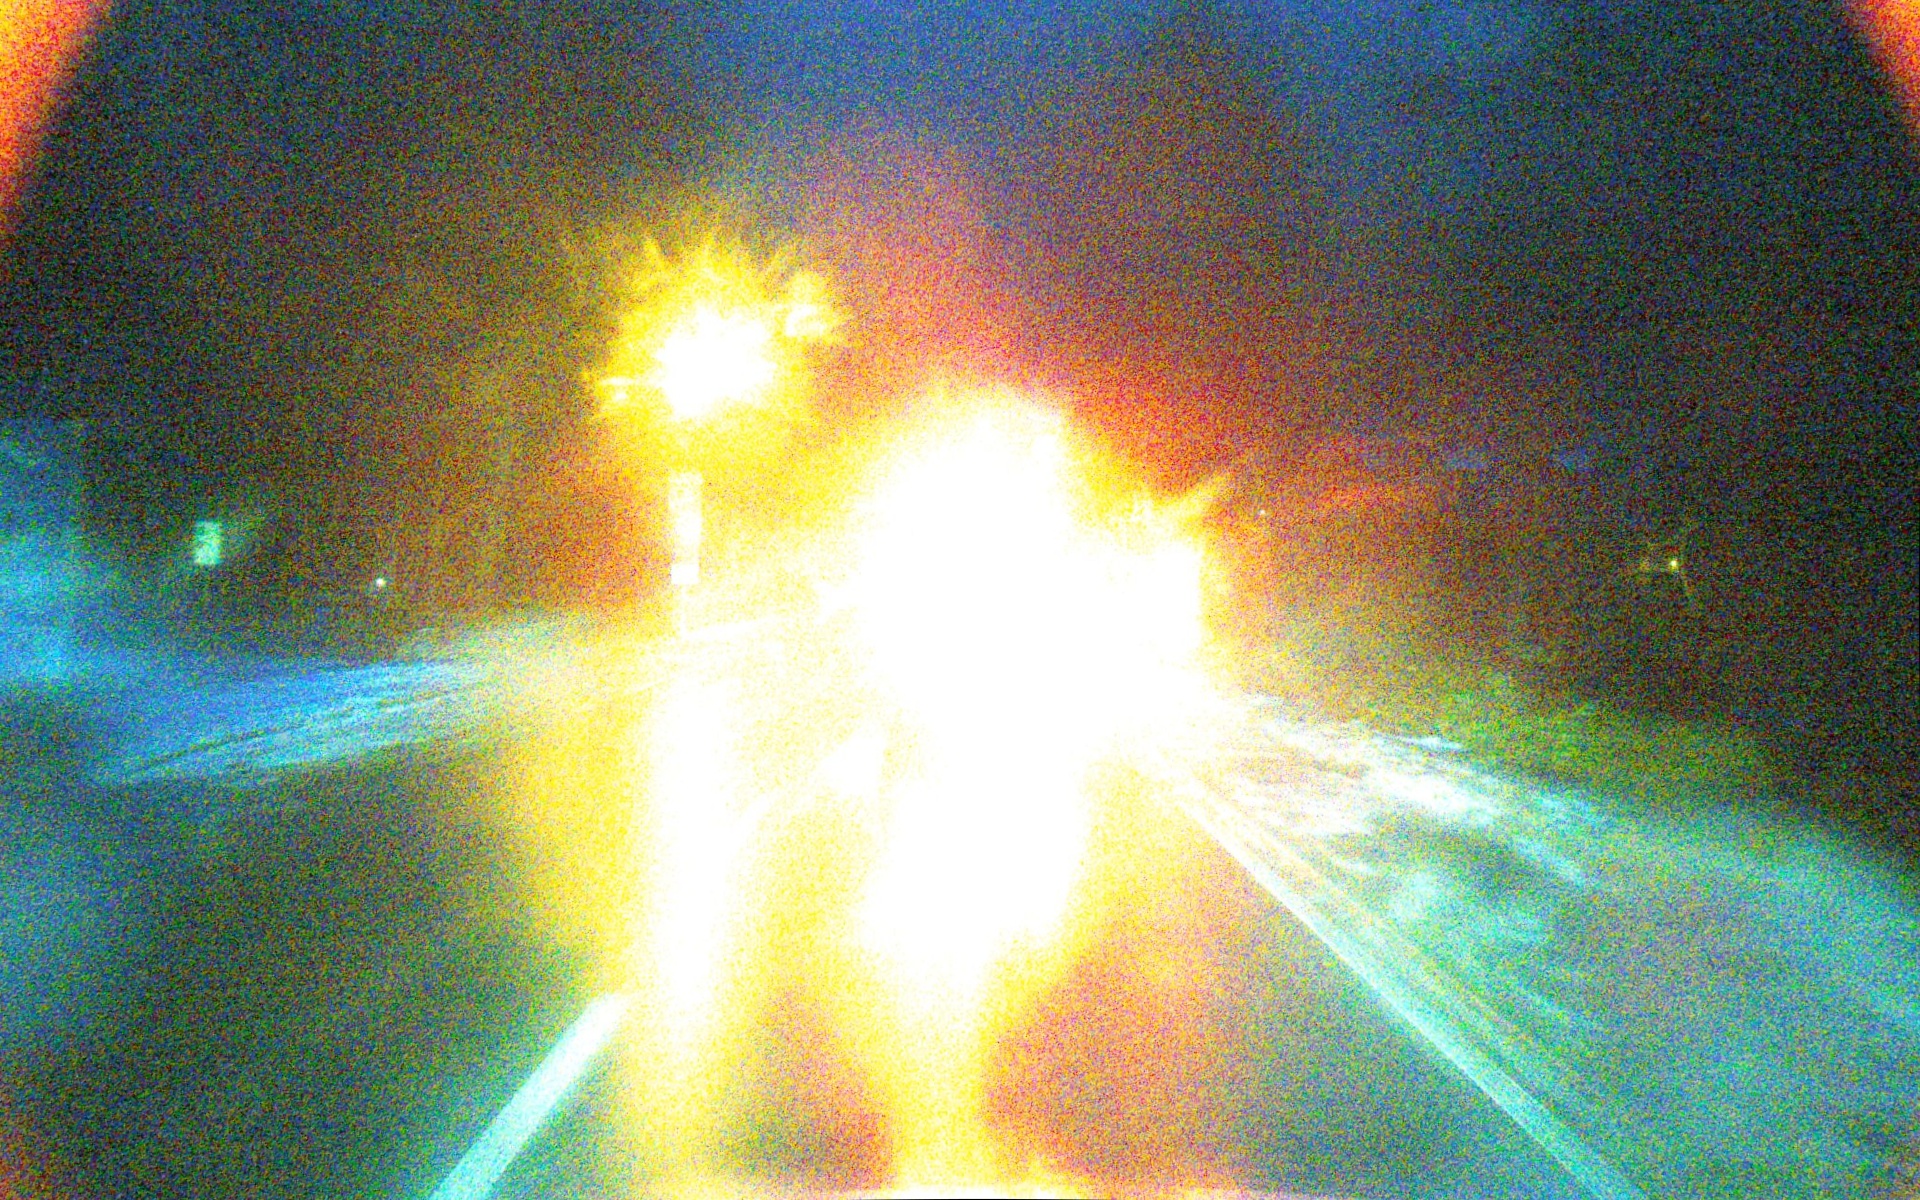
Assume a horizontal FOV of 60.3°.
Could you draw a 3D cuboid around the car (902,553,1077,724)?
[{"bbox_3d":[0.358,0.370,18.538,1.753,1.711,3.905,0,0,2],"label":"car"}]
